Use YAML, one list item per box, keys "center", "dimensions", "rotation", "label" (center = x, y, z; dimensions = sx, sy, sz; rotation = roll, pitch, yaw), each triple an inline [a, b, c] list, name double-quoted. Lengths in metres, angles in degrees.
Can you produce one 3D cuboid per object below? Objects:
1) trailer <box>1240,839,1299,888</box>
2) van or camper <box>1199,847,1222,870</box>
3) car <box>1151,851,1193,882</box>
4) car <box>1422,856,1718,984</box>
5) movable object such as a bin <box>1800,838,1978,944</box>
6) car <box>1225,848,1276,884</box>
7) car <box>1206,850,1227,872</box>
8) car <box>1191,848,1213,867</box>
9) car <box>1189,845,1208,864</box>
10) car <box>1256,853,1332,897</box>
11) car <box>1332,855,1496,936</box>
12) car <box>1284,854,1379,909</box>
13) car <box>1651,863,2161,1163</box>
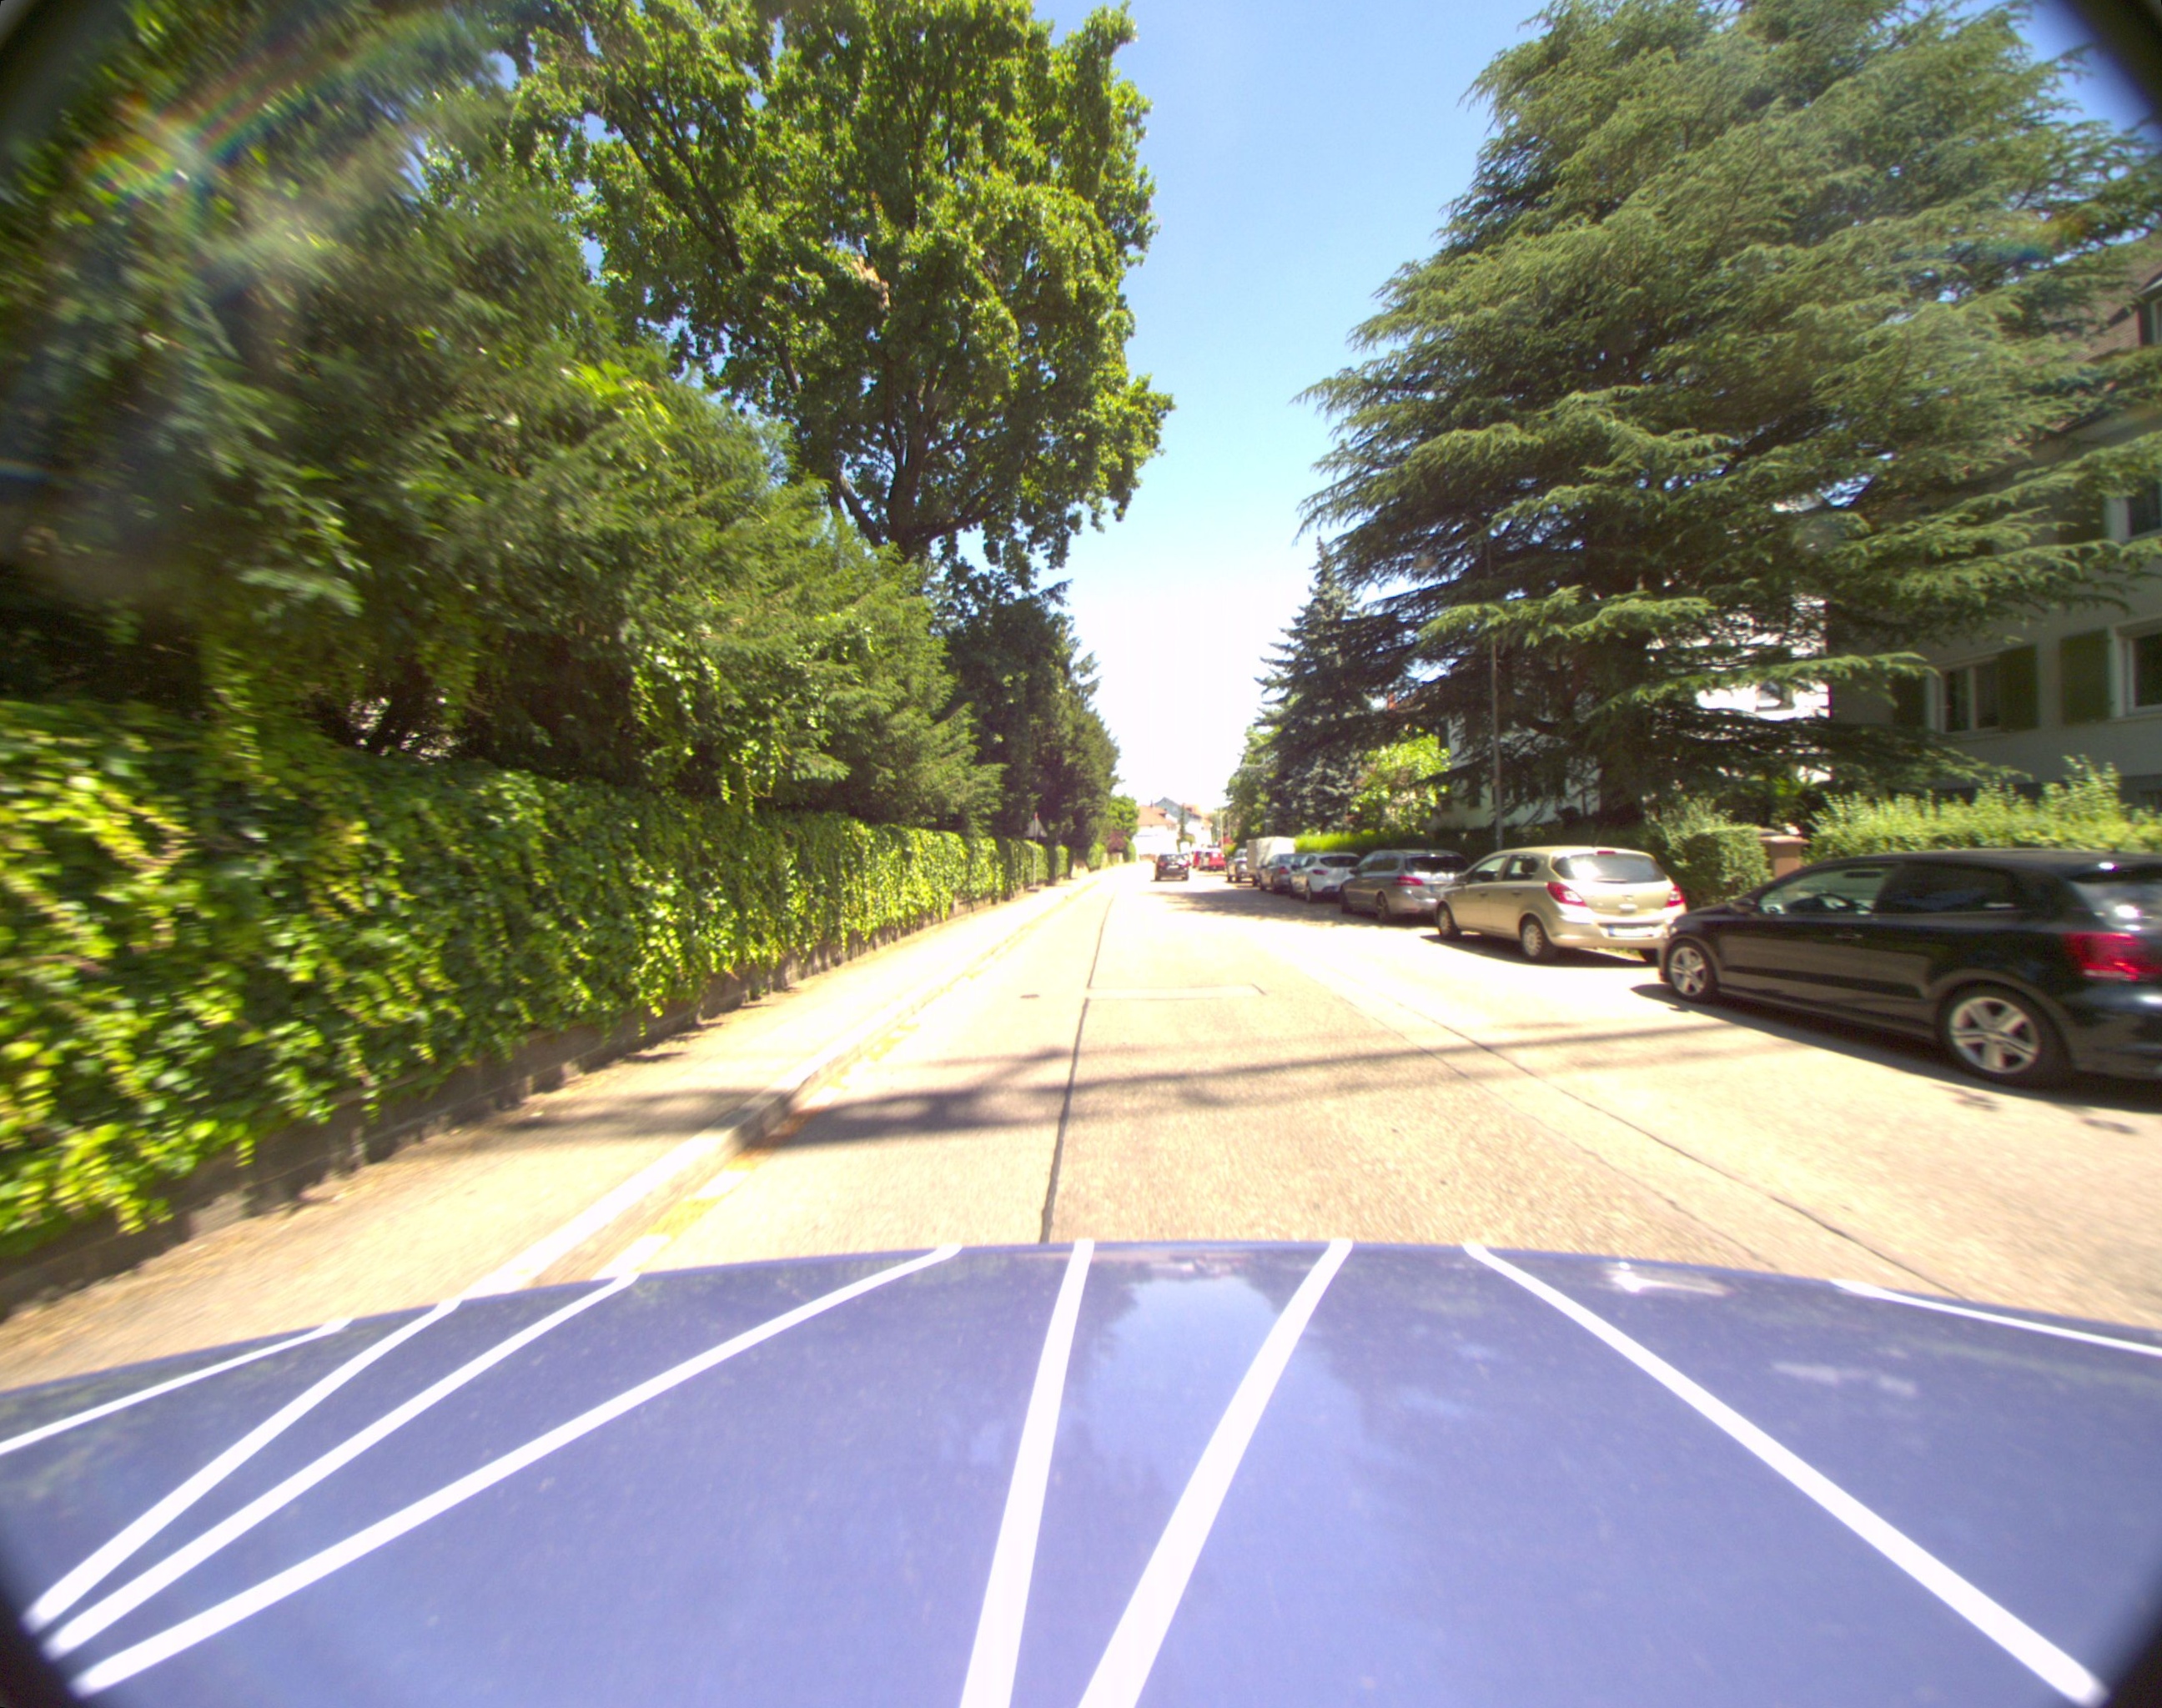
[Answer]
- center: [8.129, 0.386, 33.124]
  dimensions: [1.818, 2.021, 4.001]
  rotation: [0, 0, 4]
  label: "trailer"
- center: [10.431, 0.373, 61.387]
  dimensions: [1.583, 1.760, 3.890]
  rotation: [-2, 0, 6]
  label: "van or camper"
- center: [4.932, 0.666, 41.833]
  dimensions: [1.903, 1.565, 4.141]
  rotation: [-2, 0, 2]
  label: "car"
- center: [6.501, 0.772, 10.677]
  dimensions: [1.801, 1.434, 3.785]
  rotation: [-1, 0, 2]
  label: "car"
- center: [9.909, 0.423, 9.353]
  dimensions: [1.298, 1.192, 0.972]
  rotation: [-2, 0, -13]
  label: "movable object such as a bin"
- center: [8.267, 0.554, 37.410]
  dimensions: [1.772, 1.609, 4.550]
  rotation: [-1, 0, 4]
  label: "car"
- center: [10.113, 0.512, 56.665]
  dimensions: [1.308, 1.568, 2.322]
  rotation: [-2, 0, 6]
  label: "car"
- center: [11.281, 0.331, 71.185]
  dimensions: [1.892, 1.749, 3.614]
  rotation: [0, 0, 6]
  label: "car"
- center: [13.046, 0.031, 84.568]
  dimensions: [1.892, 2.103, 4.001]
  rotation: [0, 0, 6]
  label: "car"
- center: [7.561, 0.687, 27.374]
  dimensions: [1.800, 1.434, 4.478]
  rotation: [-1, 0, 5]
  label: "car"
- center: [6.773, 0.756, 15.988]
  dimensions: [1.800, 1.434, 4.273]
  rotation: [-1, 0, 4]
  label: "car"
- center: [7.291, 0.745, 22.521]
  dimensions: [1.800, 1.434, 3.897]
  rotation: [-1, 0, 5]
  label: "car"
- center: [6.260, 0.804, 5.440]
  dimensions: [1.685, 1.393, 3.791]
  rotation: [-1, 0, 4]
  label: "car"
